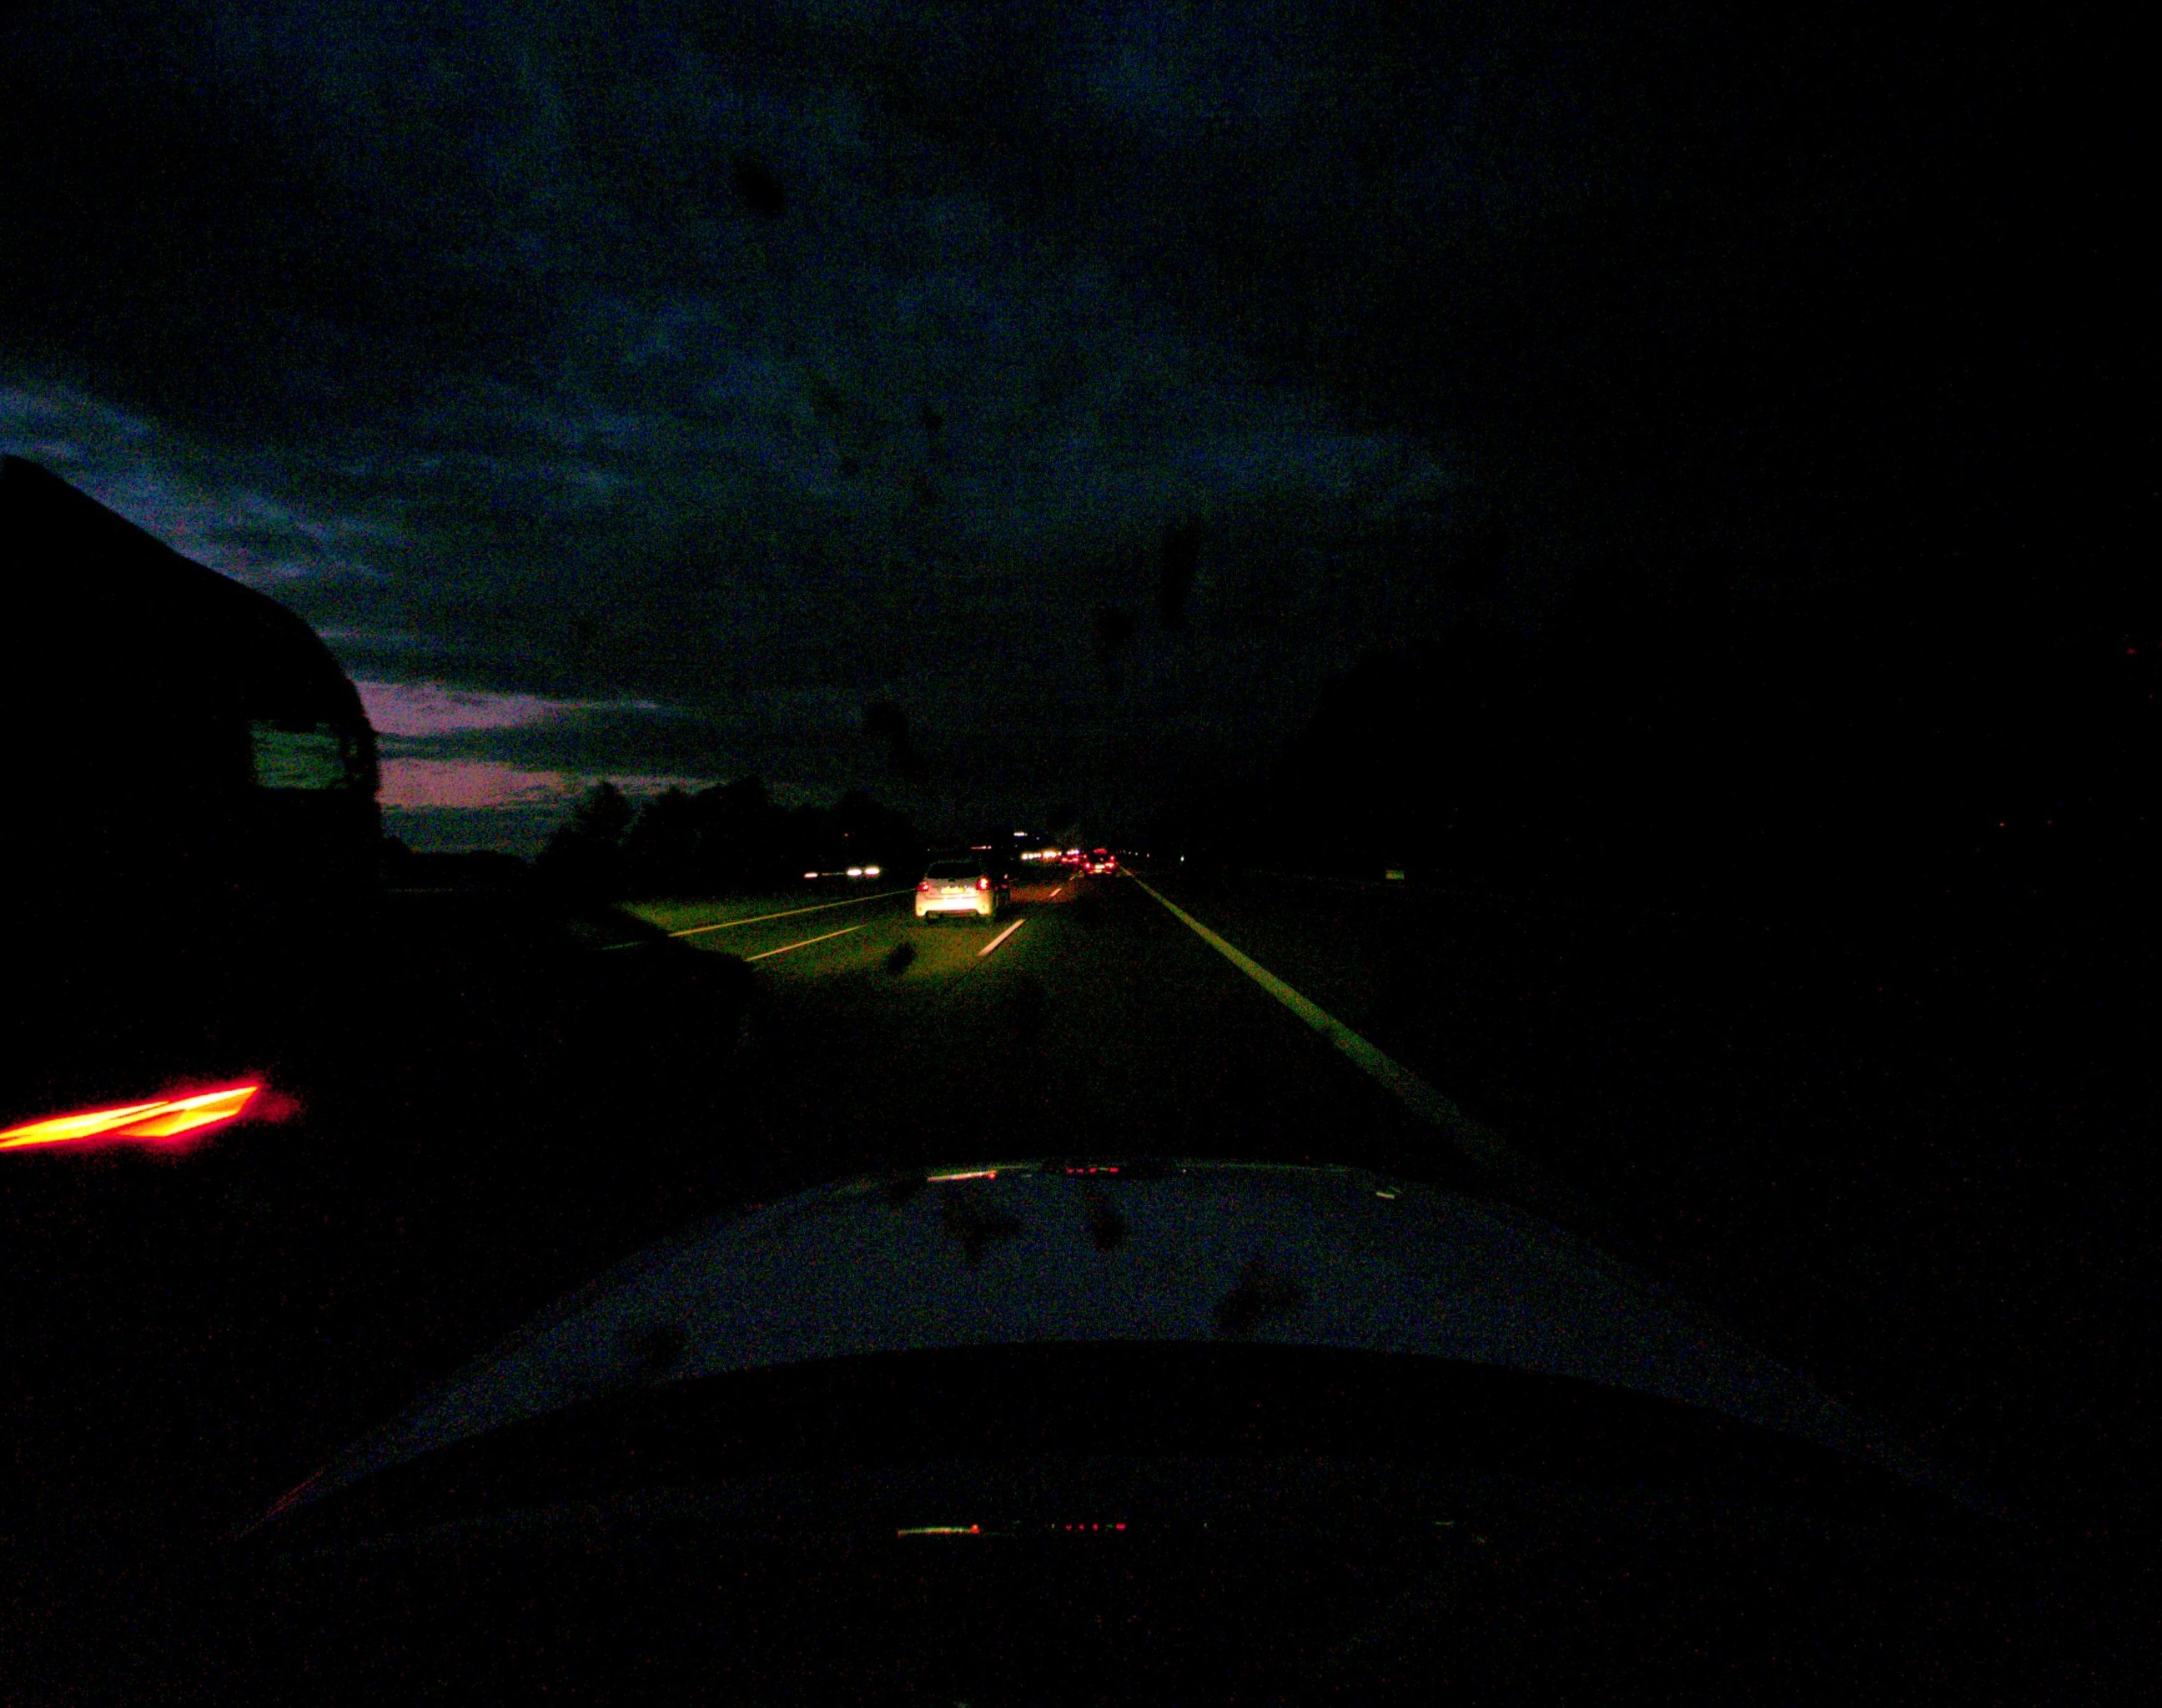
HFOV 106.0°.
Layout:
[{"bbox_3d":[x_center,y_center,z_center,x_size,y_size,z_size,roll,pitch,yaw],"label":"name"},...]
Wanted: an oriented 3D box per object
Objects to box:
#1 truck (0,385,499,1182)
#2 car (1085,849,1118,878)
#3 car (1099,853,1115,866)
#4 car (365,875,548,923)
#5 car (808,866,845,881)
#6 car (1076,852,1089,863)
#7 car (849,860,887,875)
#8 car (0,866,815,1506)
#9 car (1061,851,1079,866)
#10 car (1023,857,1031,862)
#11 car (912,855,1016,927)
[{"bbox_3d":[-6.906,-0.341,4.505,2.767,4.093,6.105,-2,-1,2],"label":"truck"},{"bbox_3d":[1.201,0.578,48.470,1.873,1.643,4.001,0,0,1],"label":"car"},{"bbox_3d":[3.177,0.677,100.372,1.874,1.552,4.000,0,0,1],"label":"car"},{"bbox_3d":[-15.156,1.052,20.032,1.686,0.989,3.567,0,0,1],"label":"car"},{"bbox_3d":[-20.913,1.564,67.002,1.712,1.178,4.001,0,0,1],"label":"car"},{"bbox_3d":[0.329,0.604,144.102,2.191,1.879,4.001,0,0,1],"label":"car"},{"bbox_3d":[-17.427,1.080,66.750,1.924,1.178,4.001,0,0,1],"label":"car"},{"bbox_3d":[-3.078,0.820,4.290,1.717,1.471,4.726,0,0,1],"label":"car"},{"bbox_3d":[-1.151,0.516,89.720,1.874,1.552,4.000,0,0,1],"label":"car"},{"bbox_3d":[-13.978,1.375,209.827,1.738,1.362,4.112,0,0,1],"label":"car"},{"bbox_3d":[-2.709,0.811,19.751,1.738,1.525,4.416,0,0,2],"label":"car"}]
